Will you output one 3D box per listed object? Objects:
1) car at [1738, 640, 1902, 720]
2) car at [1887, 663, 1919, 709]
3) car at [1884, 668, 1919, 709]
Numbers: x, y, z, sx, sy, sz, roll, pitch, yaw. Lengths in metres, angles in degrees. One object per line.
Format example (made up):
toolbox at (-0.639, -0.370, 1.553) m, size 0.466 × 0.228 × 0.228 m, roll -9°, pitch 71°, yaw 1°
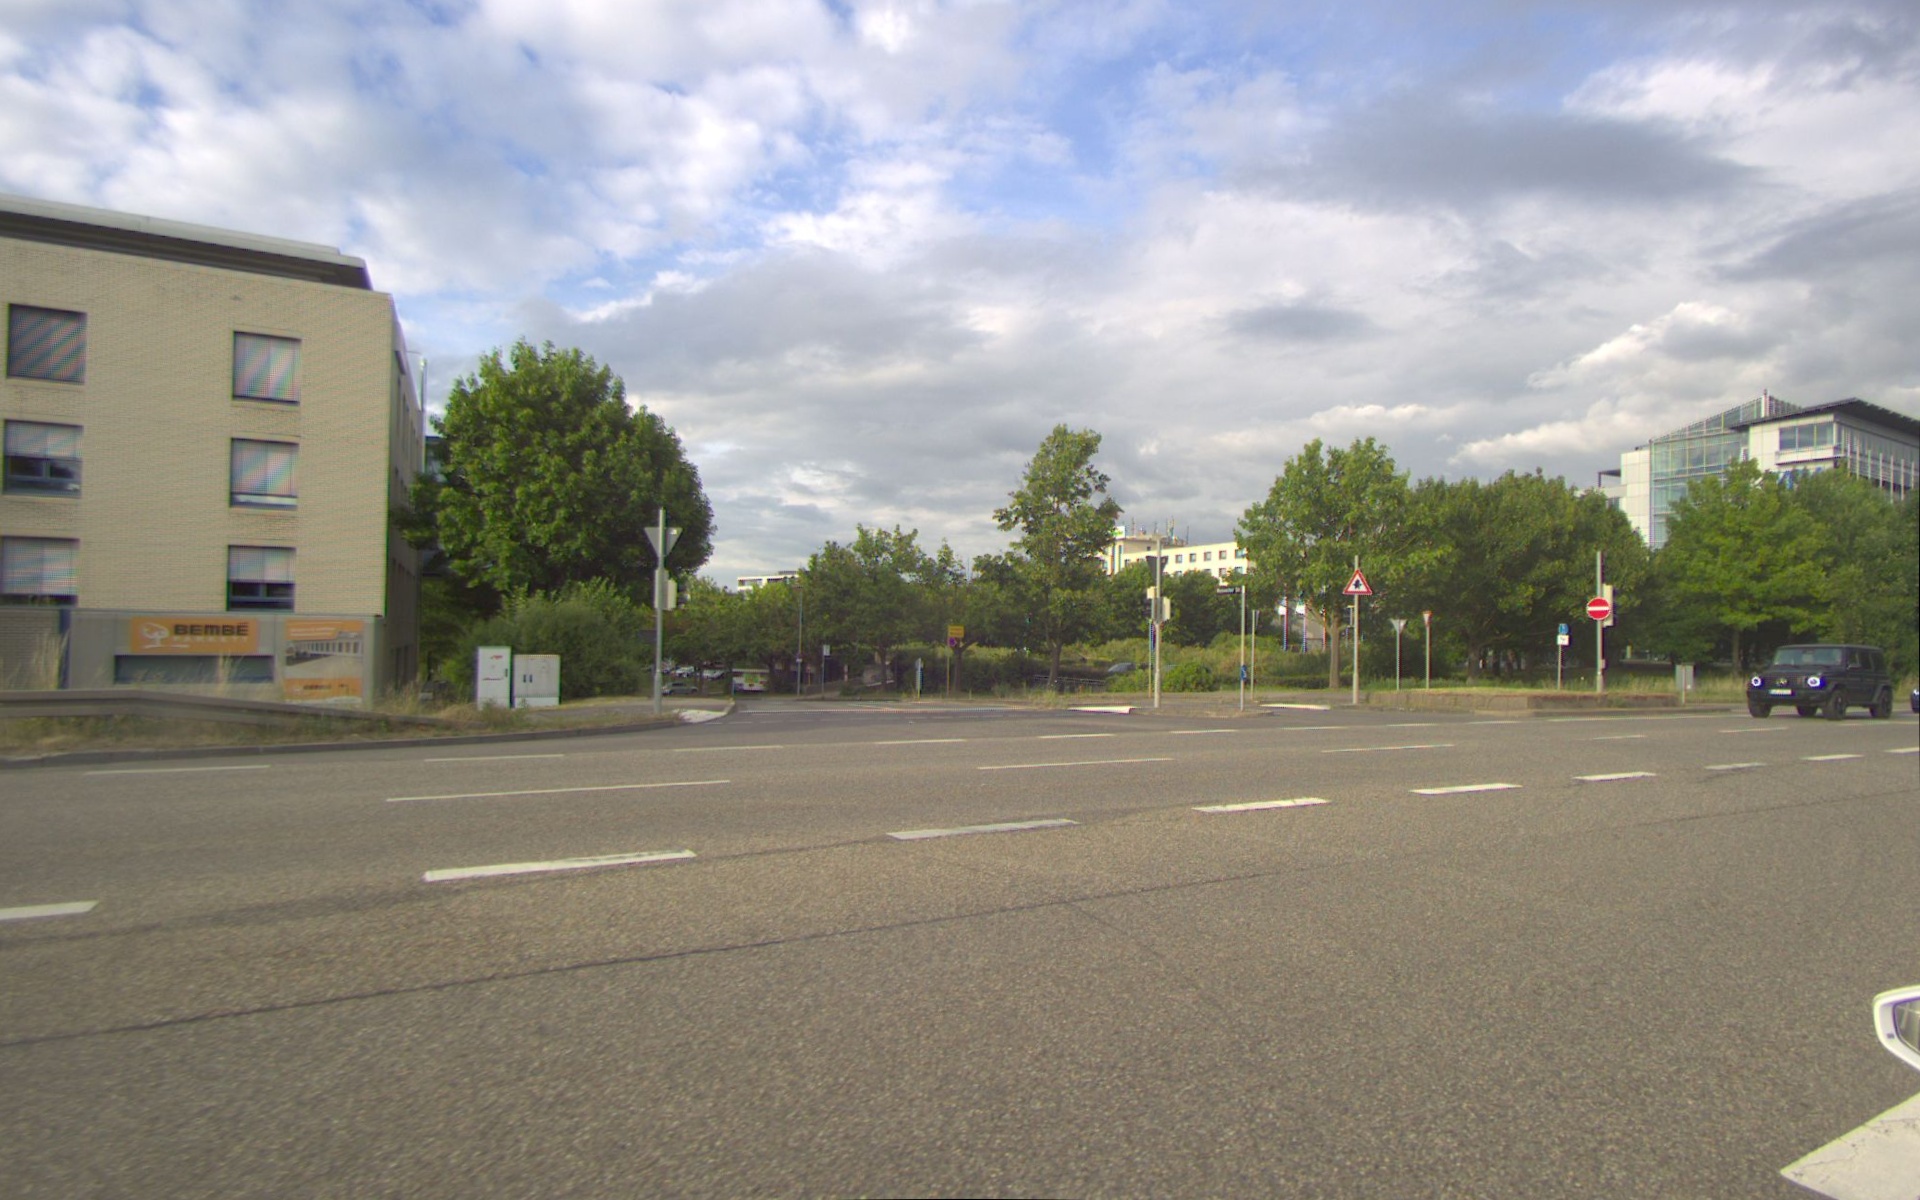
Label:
car at (23.572, 2.174, 27.493) m, size 5.033 × 2.016 × 1.925 m, roll 3°, pitch -3°, yaw -31°
car at (31.321, 2.746, 31.880) m, size 4.136 × 1.406 × 1.641 m, roll 3°, pitch -3°, yaw -30°
car at (31.230, 2.780, 31.861) m, size 3.954 × 1.256 × 1.714 m, roll 3°, pitch -6°, yaw -31°
